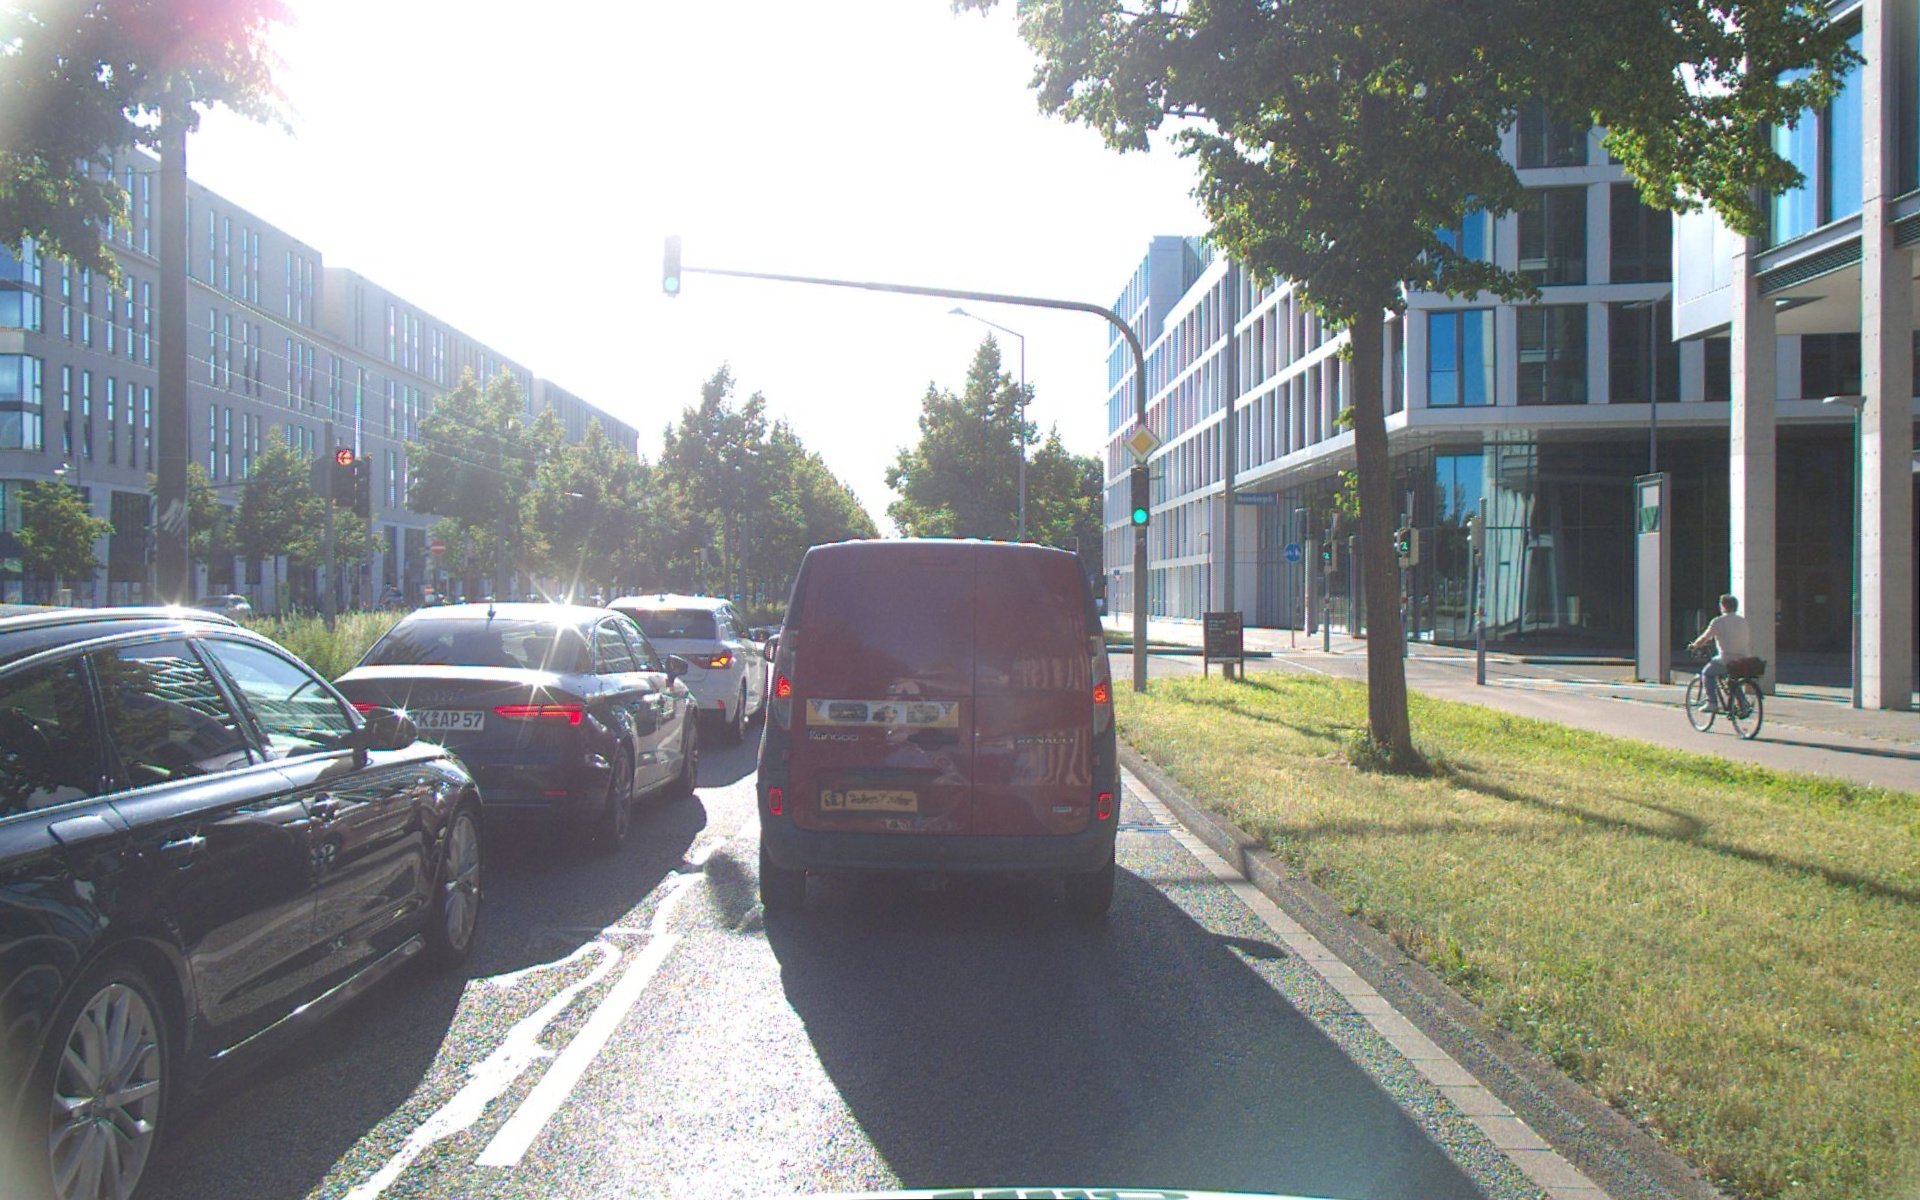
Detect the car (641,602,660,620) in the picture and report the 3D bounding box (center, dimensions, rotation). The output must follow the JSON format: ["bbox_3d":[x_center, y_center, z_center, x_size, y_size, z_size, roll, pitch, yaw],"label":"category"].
[{"bbox_3d":[-37.104,1.314,198.083,1.694,2.049,3.998,0,0,-3],"label":"car"}]

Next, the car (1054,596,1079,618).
[{"bbox_3d":[8.209,0.551,127.977,1.722,1.640,3.903,0,0,0],"label":"car"}]

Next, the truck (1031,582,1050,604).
[{"bbox_3d":[9.648,-0.785,198.943,1.794,2.545,5.930,0,0,-1],"label":"truck"}]

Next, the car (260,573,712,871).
[{"bbox_3d":[-2.782,0.630,10.701,1.771,1.554,4.112,0,0,-1],"label":"car"}]

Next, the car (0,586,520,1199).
[{"bbox_3d":[-2.732,0.703,4.807,1.771,1.482,4.507,0,0,-1],"label":"car"}]

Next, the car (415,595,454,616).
[{"bbox_3d":[-34.971,0.381,110.140,1.548,1.366,3.711,0,0,-1],"label":"car"}]

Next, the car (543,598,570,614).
[{"bbox_3d":[-36.207,0.516,148.499,1.548,1.366,3.711,0,0,-1],"label":"car"}]

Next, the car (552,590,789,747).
[{"bbox_3d":[-2.906,0.628,17.443,1.771,1.460,4.113,0,0,0],"label":"car"}]

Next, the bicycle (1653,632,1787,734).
[{"bbox_3d":[9.573,1.021,20.912,0.726,1.194,1.961,-2,-1,-1],"label":"bicycle"}]

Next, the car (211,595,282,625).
[{"bbox_3d":[-33.838,0.452,78.553,1.548,1.366,4.470,0,0,-1],"label":"car"}]

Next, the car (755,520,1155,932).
[{"bbox_3d":[-0.022,0.551,9.411,1.771,1.825,4.113,0,0,0],"label":"car"}]

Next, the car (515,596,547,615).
[{"bbox_3d":[-35.307,0.428,136.086,1.740,1.555,3.805,0,0,-1],"label":"car"}]

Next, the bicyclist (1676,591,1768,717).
[{"bbox_3d":[9.585,0.665,20.825,0.756,1.558,0.849,0,0,-1],"label":"bicyclist"}]
